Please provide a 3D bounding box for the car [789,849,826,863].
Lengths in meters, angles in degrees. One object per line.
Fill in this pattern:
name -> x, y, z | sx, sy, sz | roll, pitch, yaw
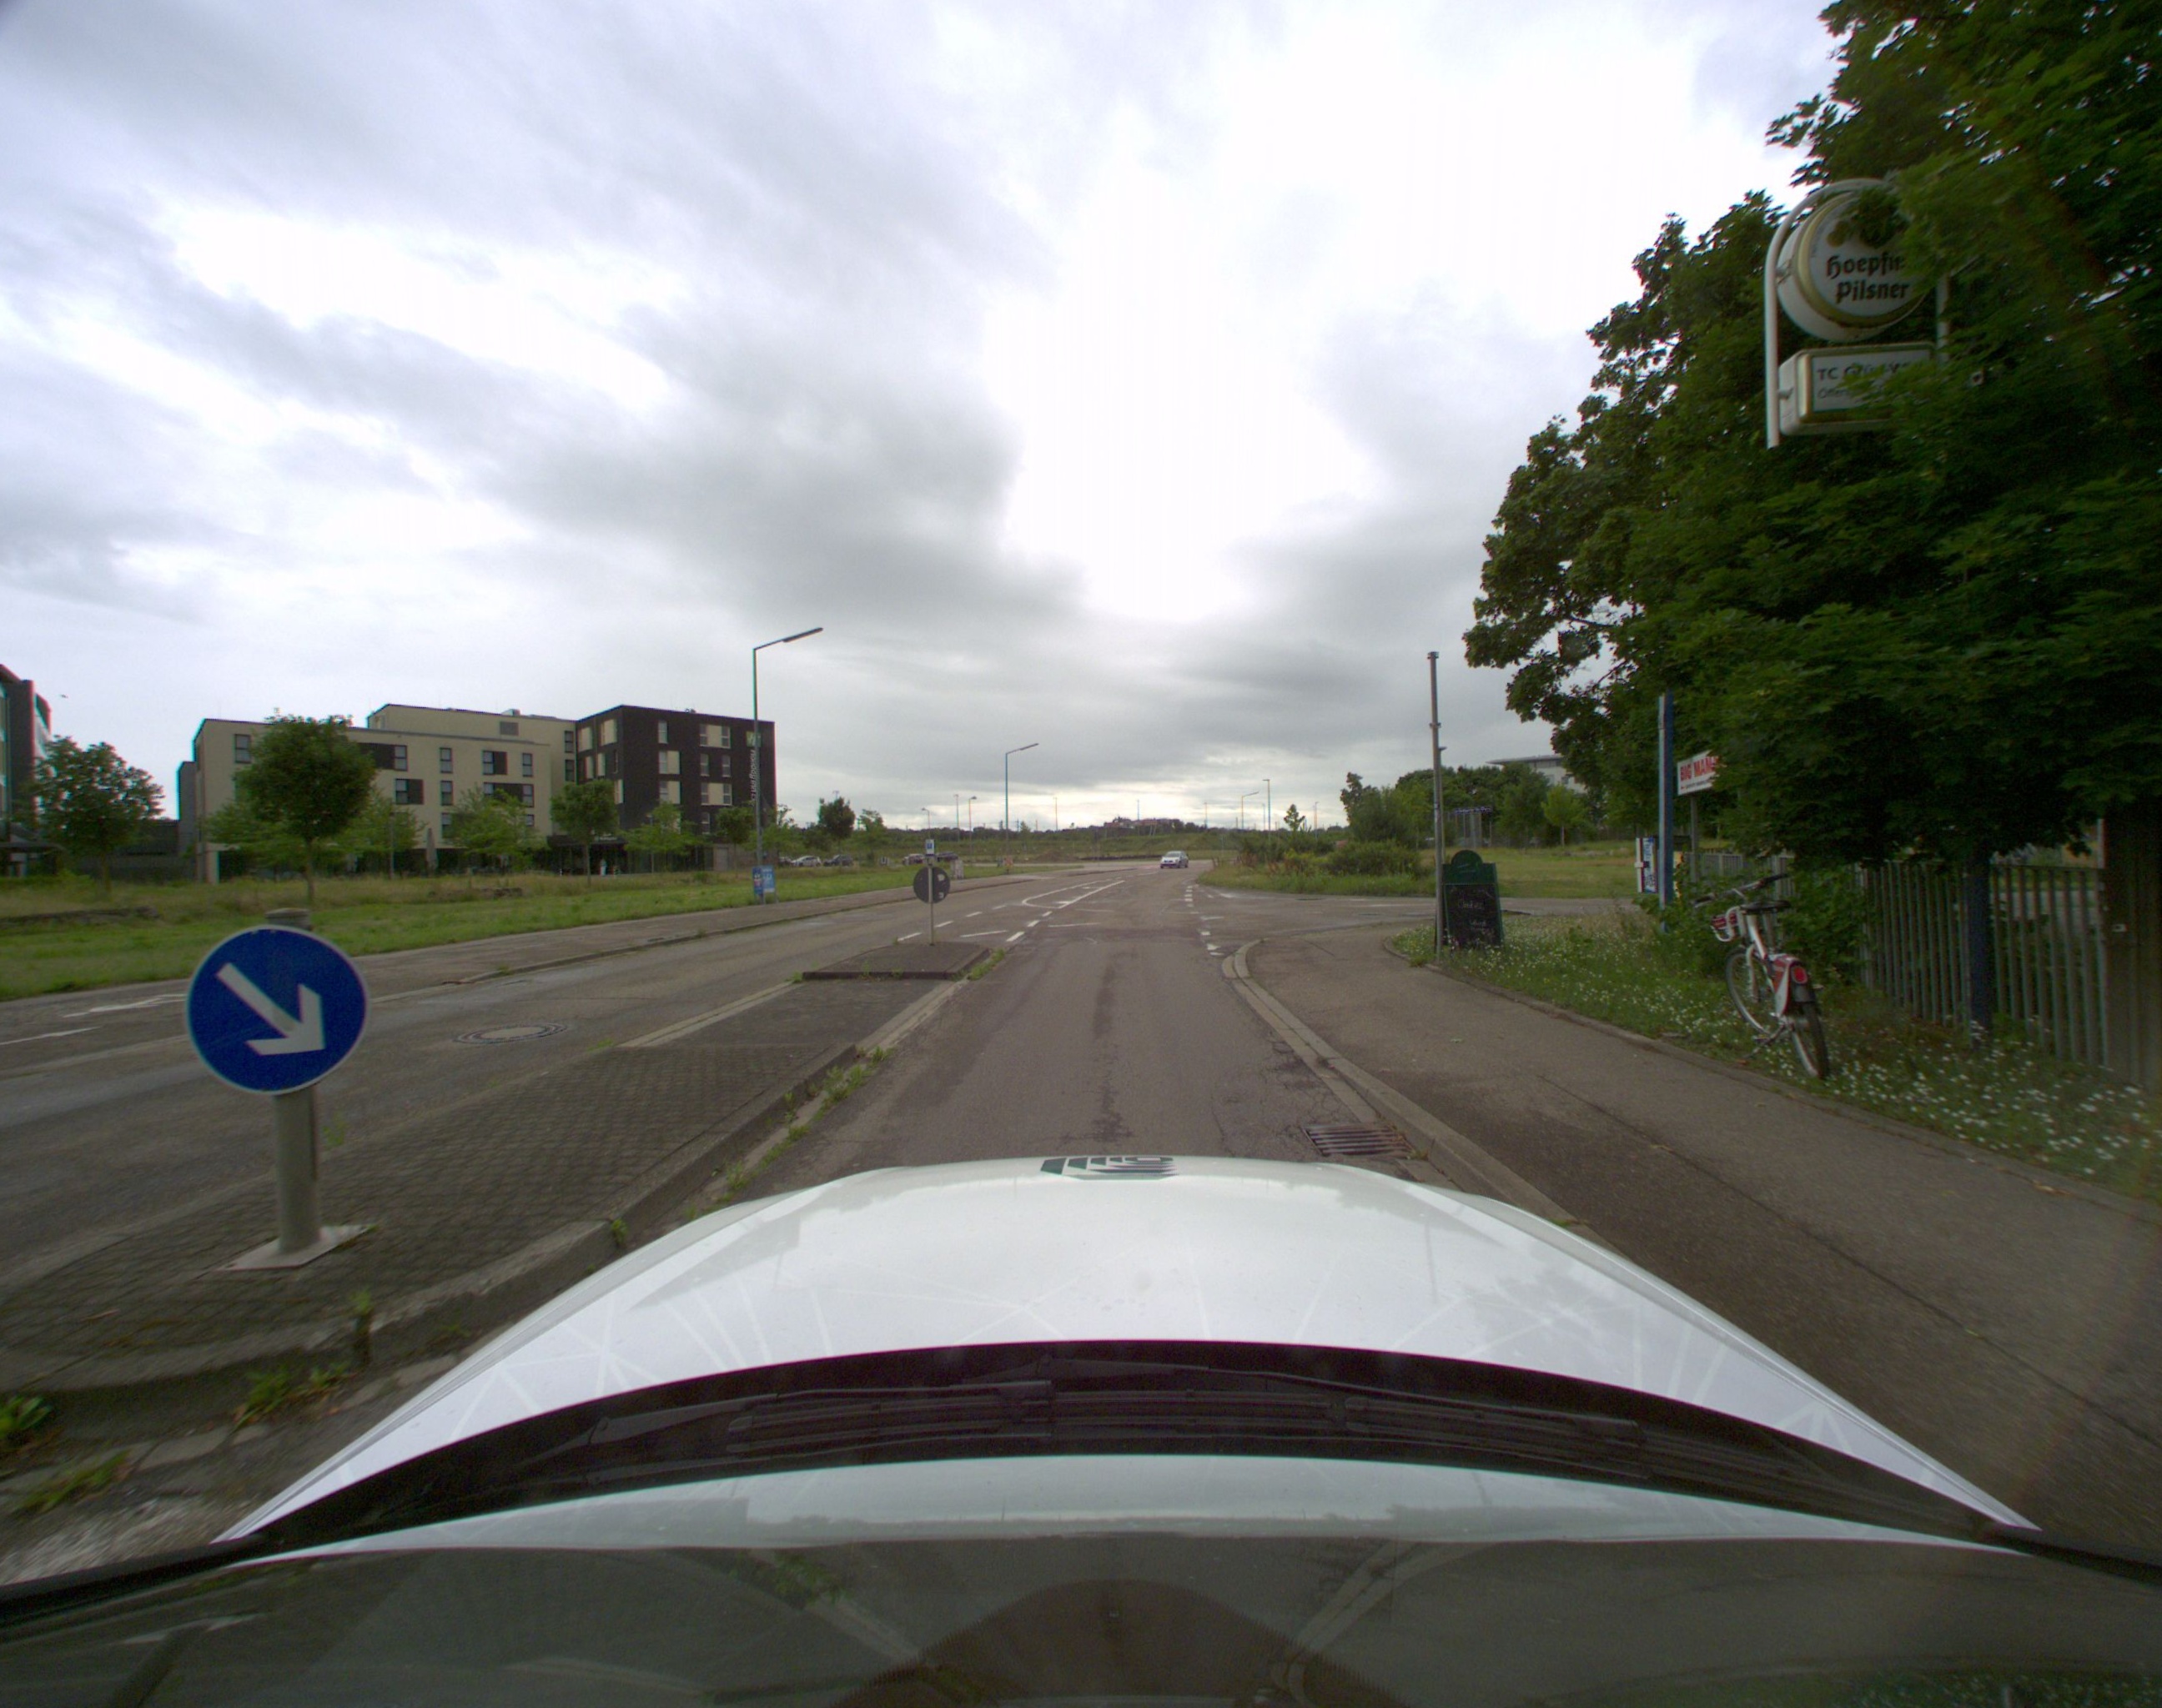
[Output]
car -> -34.961, 0.254, 104.224 | 1.974, 1.517, 4.180 | -1, 2, 32

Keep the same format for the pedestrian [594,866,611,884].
pedestrian -> -43.354, 1.861, 73.856 | 0.942, 1.570, 0.881 | -1, 1, 23

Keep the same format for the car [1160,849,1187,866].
car -> 8.283, 0.270, 72.622 | 1.659, 1.461, 4.075 | 1, 1, 17

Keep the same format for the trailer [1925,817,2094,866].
trailer -> 32.097, -0.457, 28.216 | 4.098, 1.532, 1.756 | -2, 1, -4

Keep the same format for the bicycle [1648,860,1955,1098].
bicycle -> 4.231, 0.622, 5.007 | 0.788, 1.111, 1.963 | -1, 0, 22

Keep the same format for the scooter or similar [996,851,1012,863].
scooter or similar -> -7.861, 0.306, 82.916 | 1.452, 1.168, 0.574 | 0, 1, 14

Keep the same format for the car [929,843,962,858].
car -> -17.053, -0.400, 102.718 | 3.949, 1.822, 2.013 | 0, 2, 41
